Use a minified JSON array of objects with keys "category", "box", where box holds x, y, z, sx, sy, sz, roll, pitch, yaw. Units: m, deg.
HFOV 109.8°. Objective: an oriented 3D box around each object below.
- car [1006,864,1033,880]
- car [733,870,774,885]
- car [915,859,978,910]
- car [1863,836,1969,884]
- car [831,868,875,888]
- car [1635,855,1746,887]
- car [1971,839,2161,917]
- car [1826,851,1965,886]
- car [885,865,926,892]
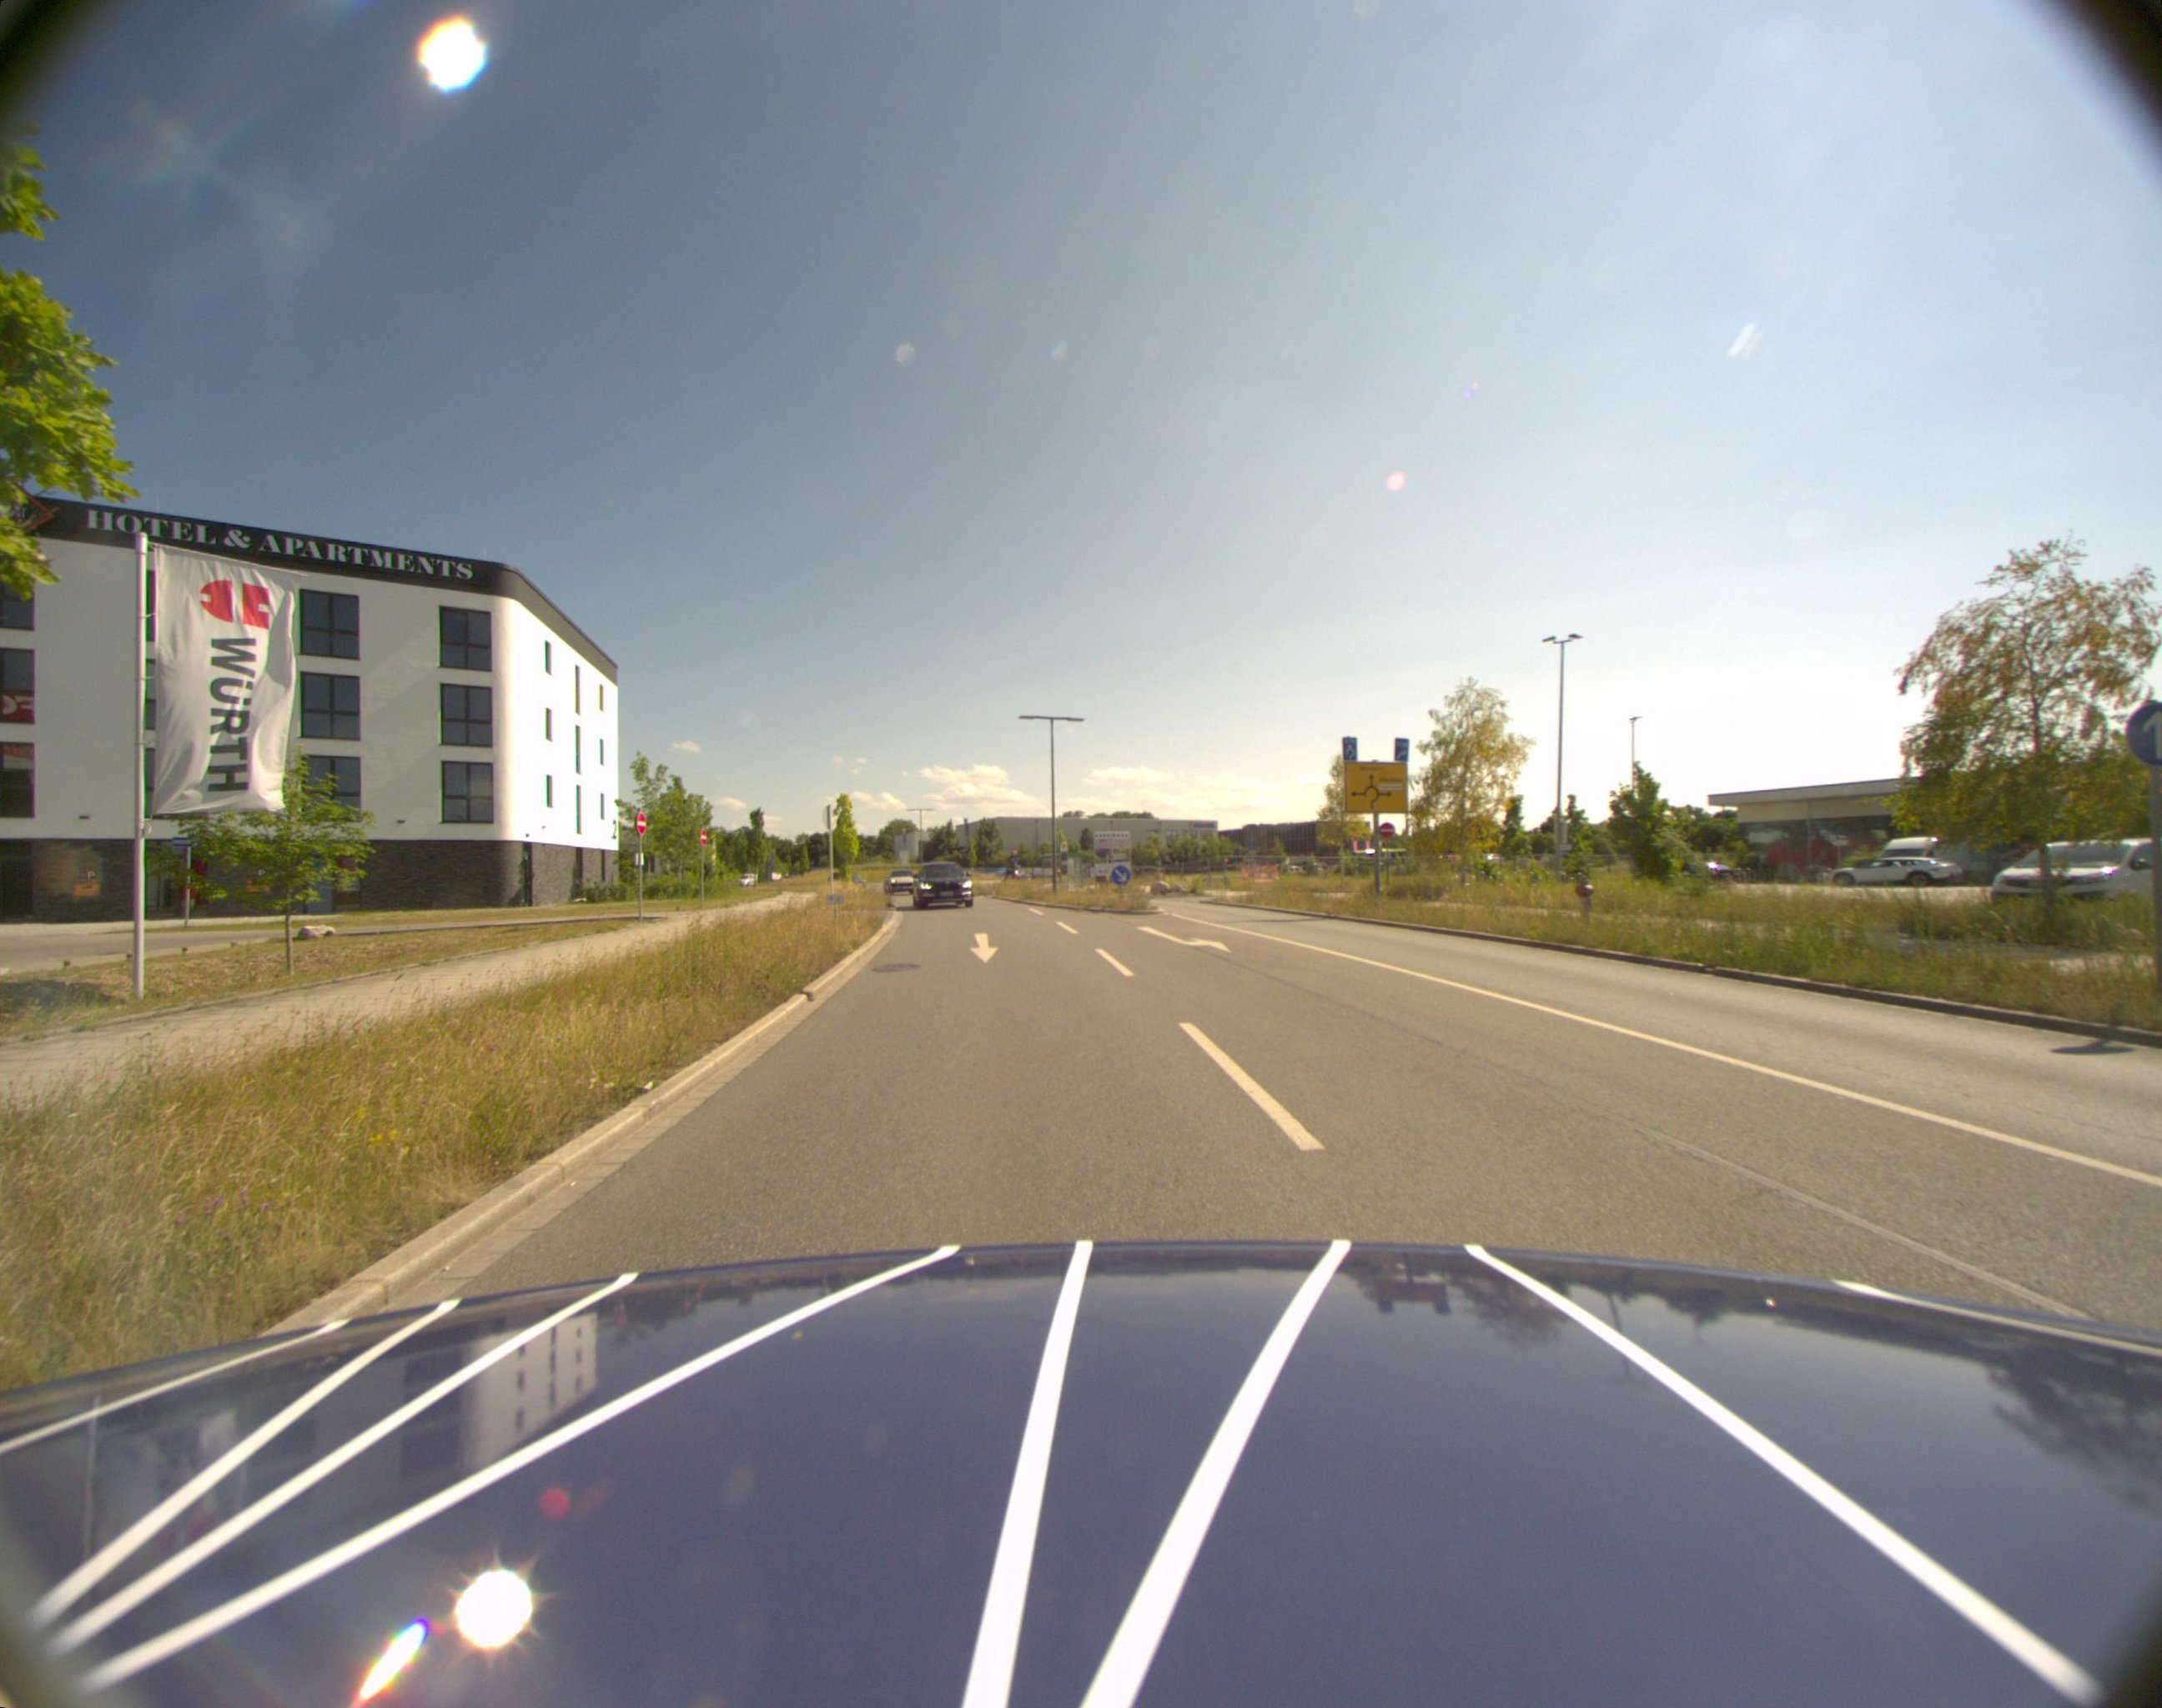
[{"category":"car","box":[-6.660,1.977,82.884,1.755,1.597,4.527,-1,0,11]},{"category":"car","box":[-37.914,2.702,88.115,1.995,1.517,4.007,-1,0,27]},{"category":"car","box":[-4.986,1.089,27.653,1.903,1.669,4.462,-1,-2,-14]},{"category":"car","box":[46.363,0.309,42.183,5.724,2.572,1.937,-1,0,-20]},{"category":"car","box":[-20.491,2.121,68.194,4.368,1.678,1.761,-1,0,41]},{"category":"car","box":[34.659,0.934,43.344,2.285,1.678,4.411,-1,0,-23]},{"category":"car","box":[24.157,0.493,17.800,5.198,1.662,1.998,-1,0,-11]},{"category":"car","box":[42.317,0.741,39.633,1.978,1.678,4.568,-1,0,-19]},{"category":"car","box":[-11.806,1.644,50.780,2.117,1.633,4.771,-1,-2,-19]}]
